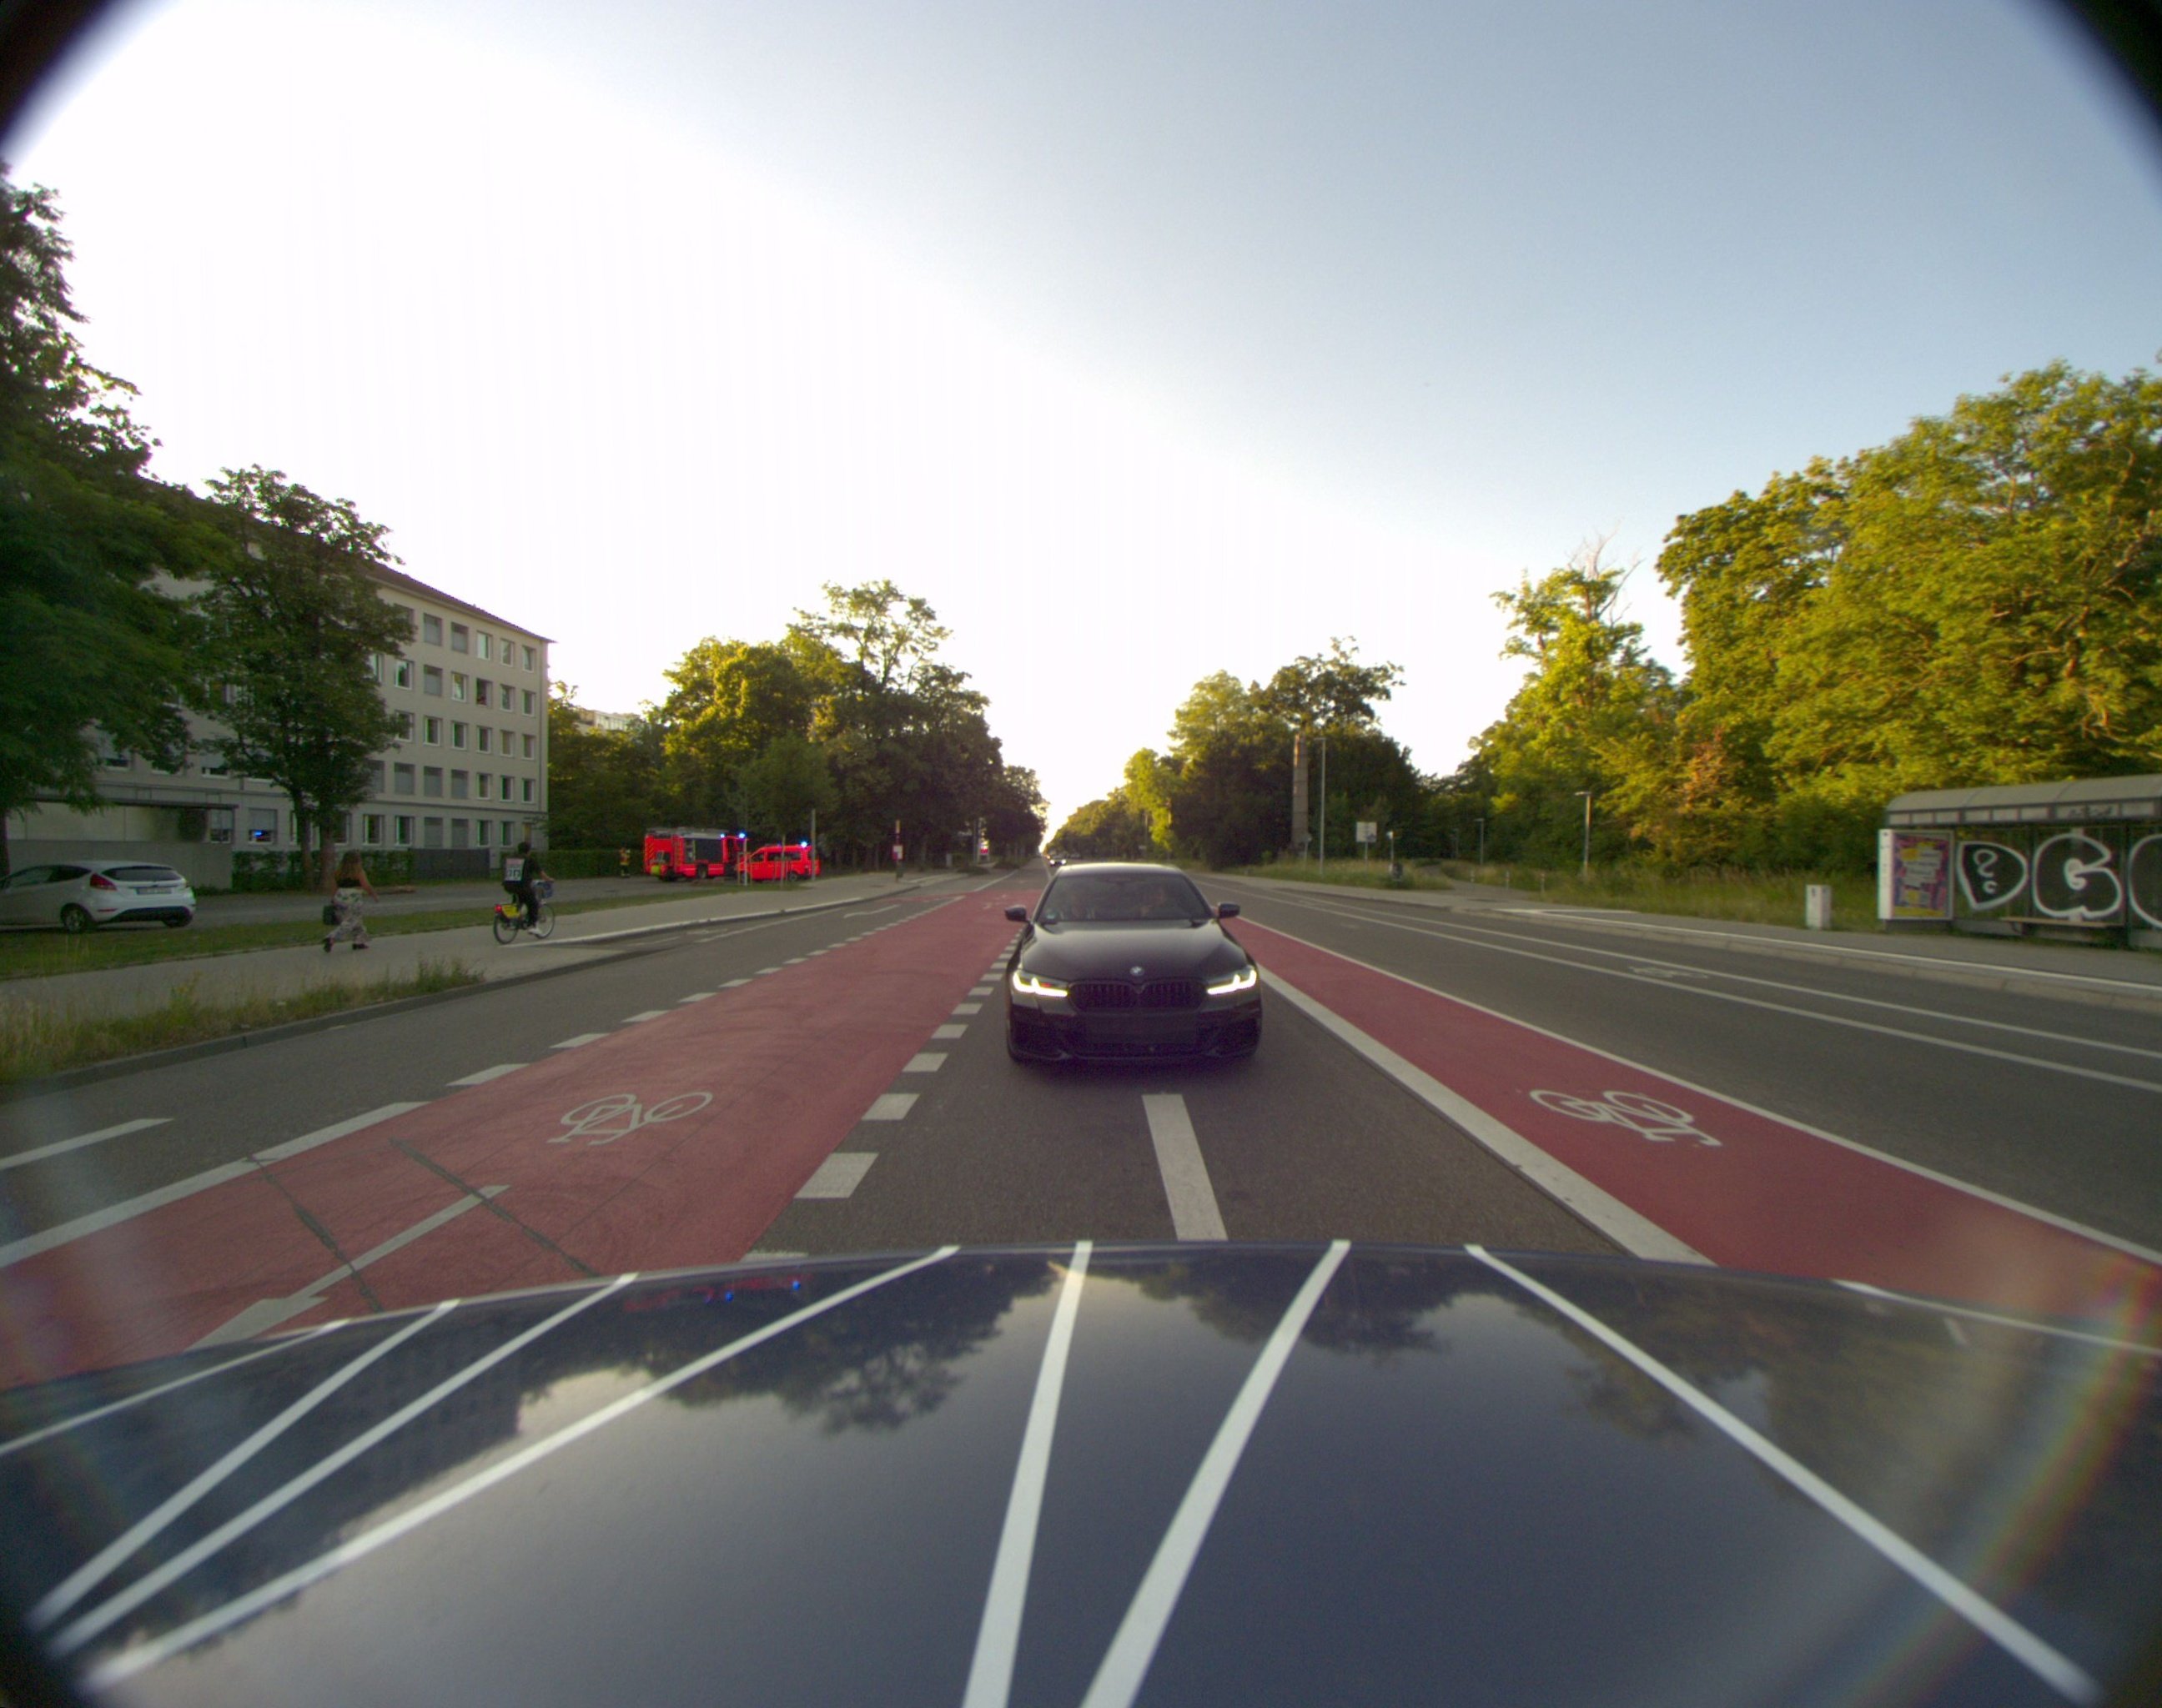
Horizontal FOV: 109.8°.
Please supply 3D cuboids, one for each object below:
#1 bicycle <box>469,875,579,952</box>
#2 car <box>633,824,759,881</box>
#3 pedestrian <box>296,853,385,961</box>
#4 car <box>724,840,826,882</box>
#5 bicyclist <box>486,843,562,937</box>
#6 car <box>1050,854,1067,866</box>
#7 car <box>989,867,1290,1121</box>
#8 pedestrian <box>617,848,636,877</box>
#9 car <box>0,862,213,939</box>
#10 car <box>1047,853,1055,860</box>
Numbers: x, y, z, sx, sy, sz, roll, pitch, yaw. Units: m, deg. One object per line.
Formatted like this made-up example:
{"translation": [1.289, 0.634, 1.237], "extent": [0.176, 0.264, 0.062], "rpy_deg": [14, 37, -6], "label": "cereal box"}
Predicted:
{"translation": [-9.968, 1.025, 13.691], "extent": [0.571, 1.233, 1.899], "rpy_deg": [0, 1, 1], "label": "bicycle"}
{"translation": [-23.622, -0.133, 47.235], "extent": [2.770, 3.225, 8.301], "rpy_deg": [0, 0, 7], "label": "car"}
{"translation": [-11.402, 0.790, 11.720], "extent": [0.682, 1.613, 0.688], "rpy_deg": [0, 0, 1], "label": "pedestrian"}
{"translation": [-17.942, 0.398, 44.706], "extent": [5.164, 2.379, 2.000], "rpy_deg": [0, 1, 3], "label": "car"}
{"translation": [-9.967, 0.616, 13.637], "extent": [0.571, 1.623, 1.038], "rpy_deg": [0, 1, 1], "label": "bicyclist"}
{"translation": [-2.873, 0.729, 95.585], "extent": [1.851, 1.346, 4.701], "rpy_deg": [-2, 0, -4], "label": "car"}
{"translation": [0.372, 0.913, 7.321], "extent": [1.818, 1.391, 5.213], "rpy_deg": [-2, 0, 0], "label": "car"}
{"translation": [-29.606, 0.553, 49.465], "extent": [0.844, 1.831, 0.684], "rpy_deg": [0, 0, 18], "label": "pedestrian"}
{"translation": [-20.818, 0.925, 15.877], "extent": [3.662, 1.451, 1.665], "rpy_deg": [0, 1, 5], "label": "car"}
{"translation": [-7.491, 0.596, 191.540], "extent": [1.850, 1.473, 4.702], "rpy_deg": [-2, 0, -1], "label": "car"}
